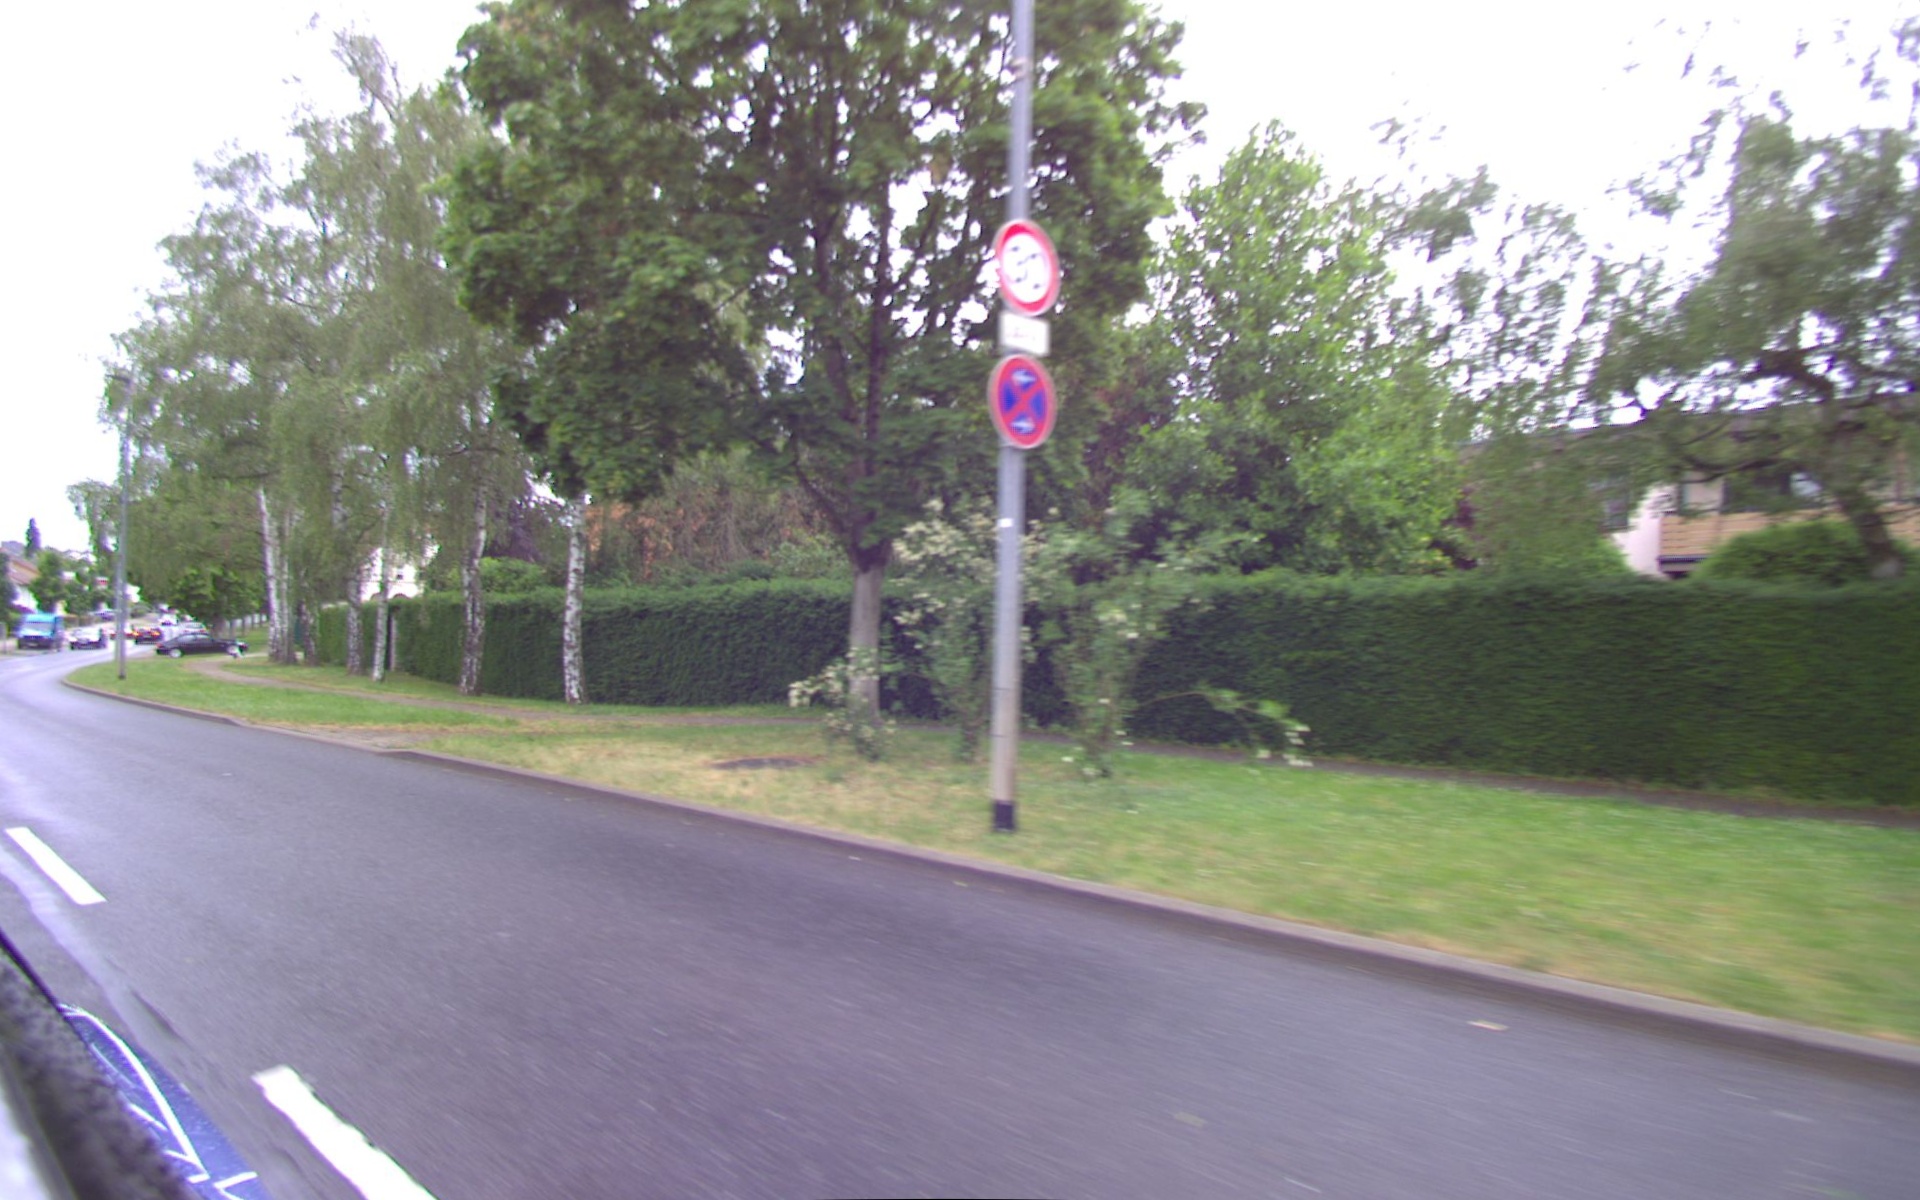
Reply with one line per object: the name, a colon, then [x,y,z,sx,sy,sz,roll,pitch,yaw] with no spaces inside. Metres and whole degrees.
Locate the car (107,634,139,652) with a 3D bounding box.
car: [-79.491,4.046,96.174,1.865,1.552,4.011,-1,-1,-32]

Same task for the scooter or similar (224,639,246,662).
scooter or similar: [-37.637,2.607,52.556,0.418,1.167,1.494,-2,-1,-14]

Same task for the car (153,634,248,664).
car: [-45.151,2.908,60.295,4.368,1.428,1.760,-3,0,-34]

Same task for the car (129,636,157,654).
car: [-70.785,3.911,87.651,1.733,1.452,4.163,-1,-2,-40]

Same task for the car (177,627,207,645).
car: [-70.774,3.288,93.337,1.746,1.619,4.012,1,-1,-31]

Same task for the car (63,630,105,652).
car: [-68.611,3.187,79.313,1.865,1.552,4.011,-1,-1,-32]

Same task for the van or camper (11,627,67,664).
van or camper: [-70.771,3.471,77.867,2.114,2.628,5.798,3,-2,-33]
